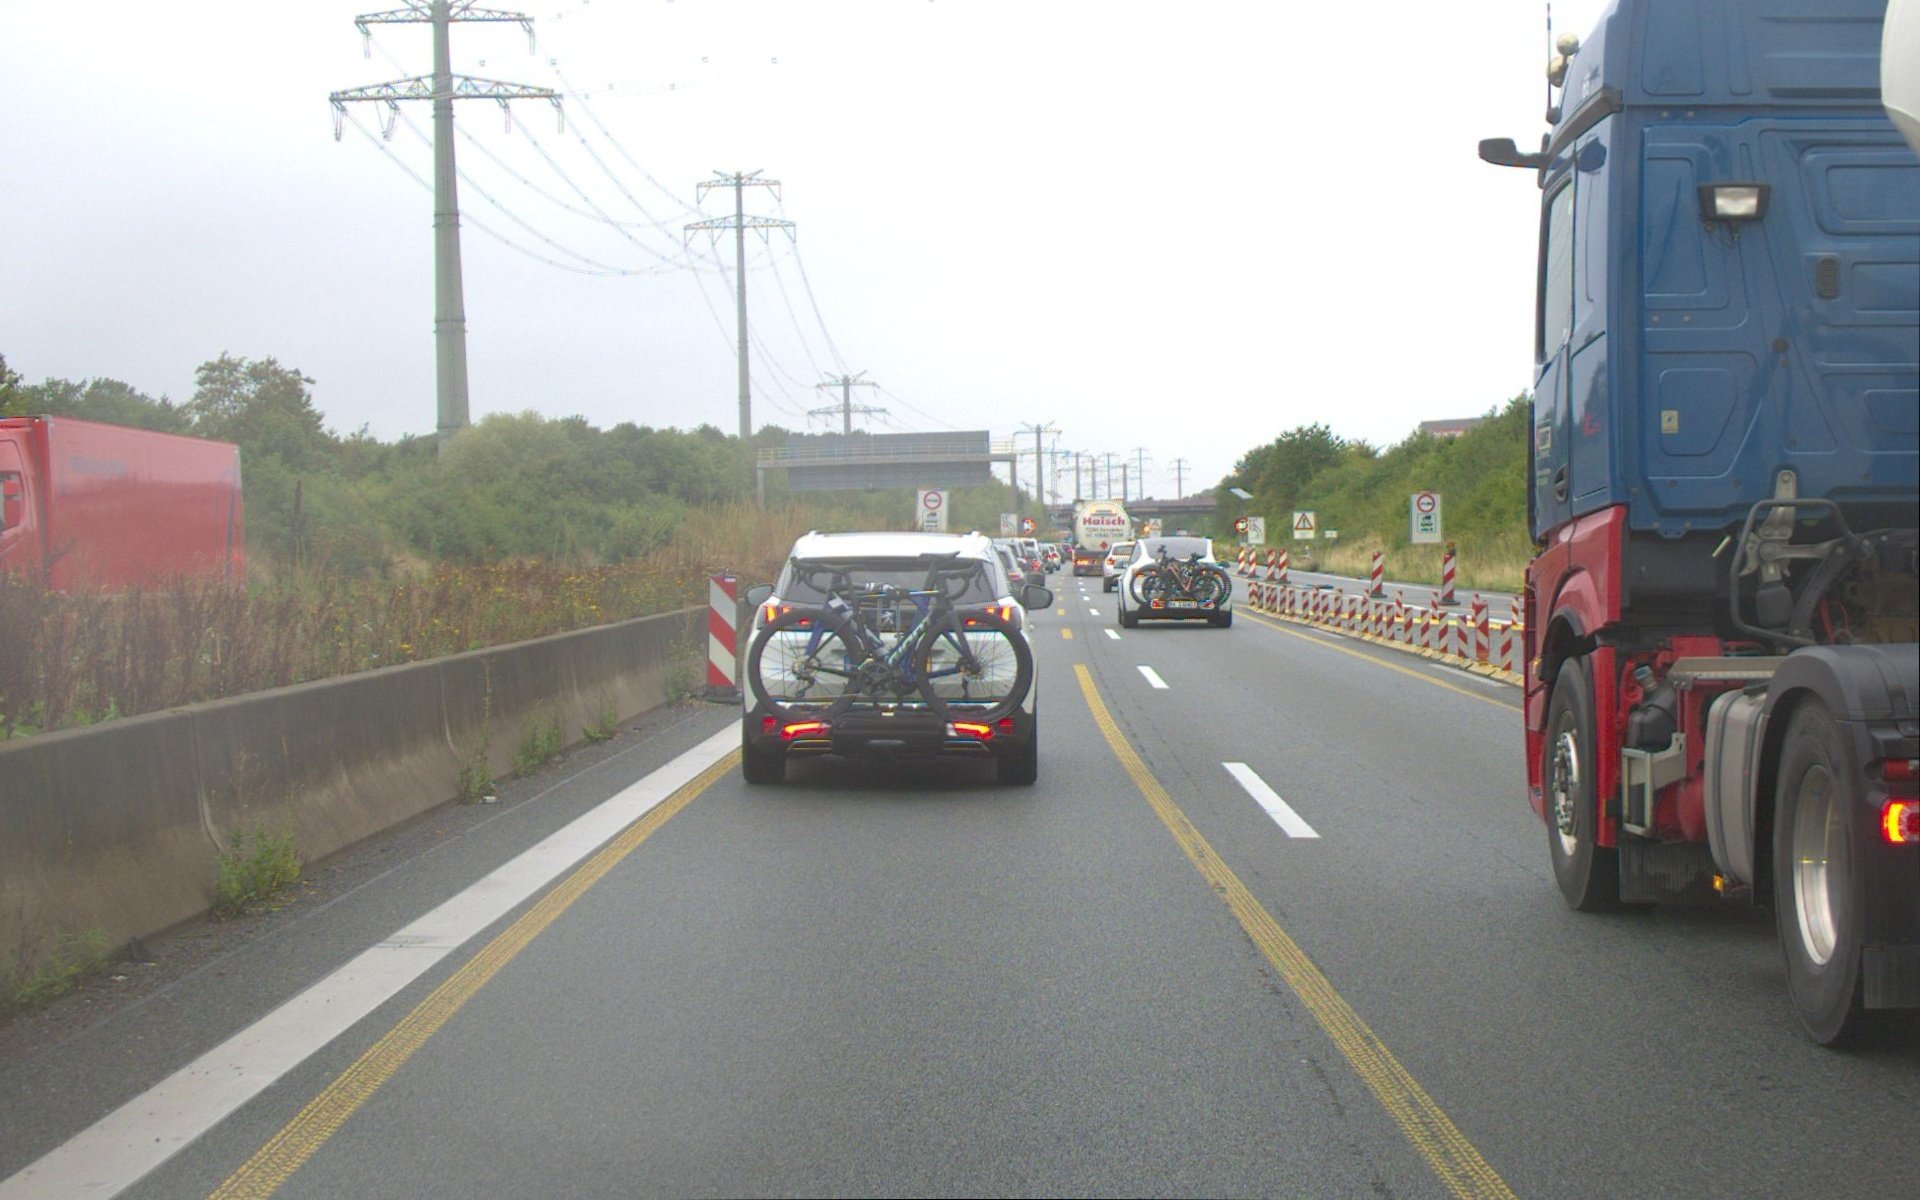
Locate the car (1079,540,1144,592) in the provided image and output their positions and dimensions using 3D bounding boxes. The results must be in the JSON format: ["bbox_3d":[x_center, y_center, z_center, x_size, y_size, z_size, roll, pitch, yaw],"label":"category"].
[{"bbox_3d":[4.596,-1.046,104.620,1.870,1.529,4.197,0,1,1],"label":"car"}]

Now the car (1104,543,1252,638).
[{"bbox_3d":[3.825,-0.205,61.400,2.045,1.590,5.802,1,1,-2],"label":"car"}]

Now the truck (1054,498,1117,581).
[{"bbox_3d":[5.966,-2.879,163.905,2.644,3.877,4.030,1,0,-2],"label":"truck"}]

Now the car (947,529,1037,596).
[{"bbox_3d":[0.748,-0.931,83.492,1.993,1.578,4.001,0,1,-2],"label":"car"}]

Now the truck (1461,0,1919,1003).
[{"bbox_3d":[3.546,-0.634,13.439,2.547,3.933,4.000,1,0,0],"label":"truck"}]

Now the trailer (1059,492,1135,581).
[{"bbox_3d":[6.212,-2.835,157.338,2.637,3.880,10.544,1,0,-2],"label":"trailer"}]

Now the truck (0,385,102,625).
[{"bbox_3d":[-15.375,-1.426,52.996,3.024,3.519,4.927,1,0,0],"label":"truck"}]

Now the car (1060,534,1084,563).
[{"bbox_3d":[7.813,-3.619,240.331,1.654,2.007,4.000,0,1,2],"label":"car"}]

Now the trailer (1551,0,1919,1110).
[{"bbox_3d":[3.674,-0.625,7.343,2.519,3.821,12.352,1,0,-1],"label":"trailer"}]

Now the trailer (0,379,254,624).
[{"bbox_3d":[-15.378,-1.589,60.494,3.037,3.801,13.978,1,0,0],"label":"trailer"}]

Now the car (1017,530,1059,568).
[{"bbox_3d":[4.228,-2.732,186.555,1.993,2.007,4.000,1,0,-2],"label":"car"}]

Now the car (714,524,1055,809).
[{"bbox_3d":[-0.419,0.336,21.791,1.928,1.605,4.595,0,1,0],"label":"car"}]
